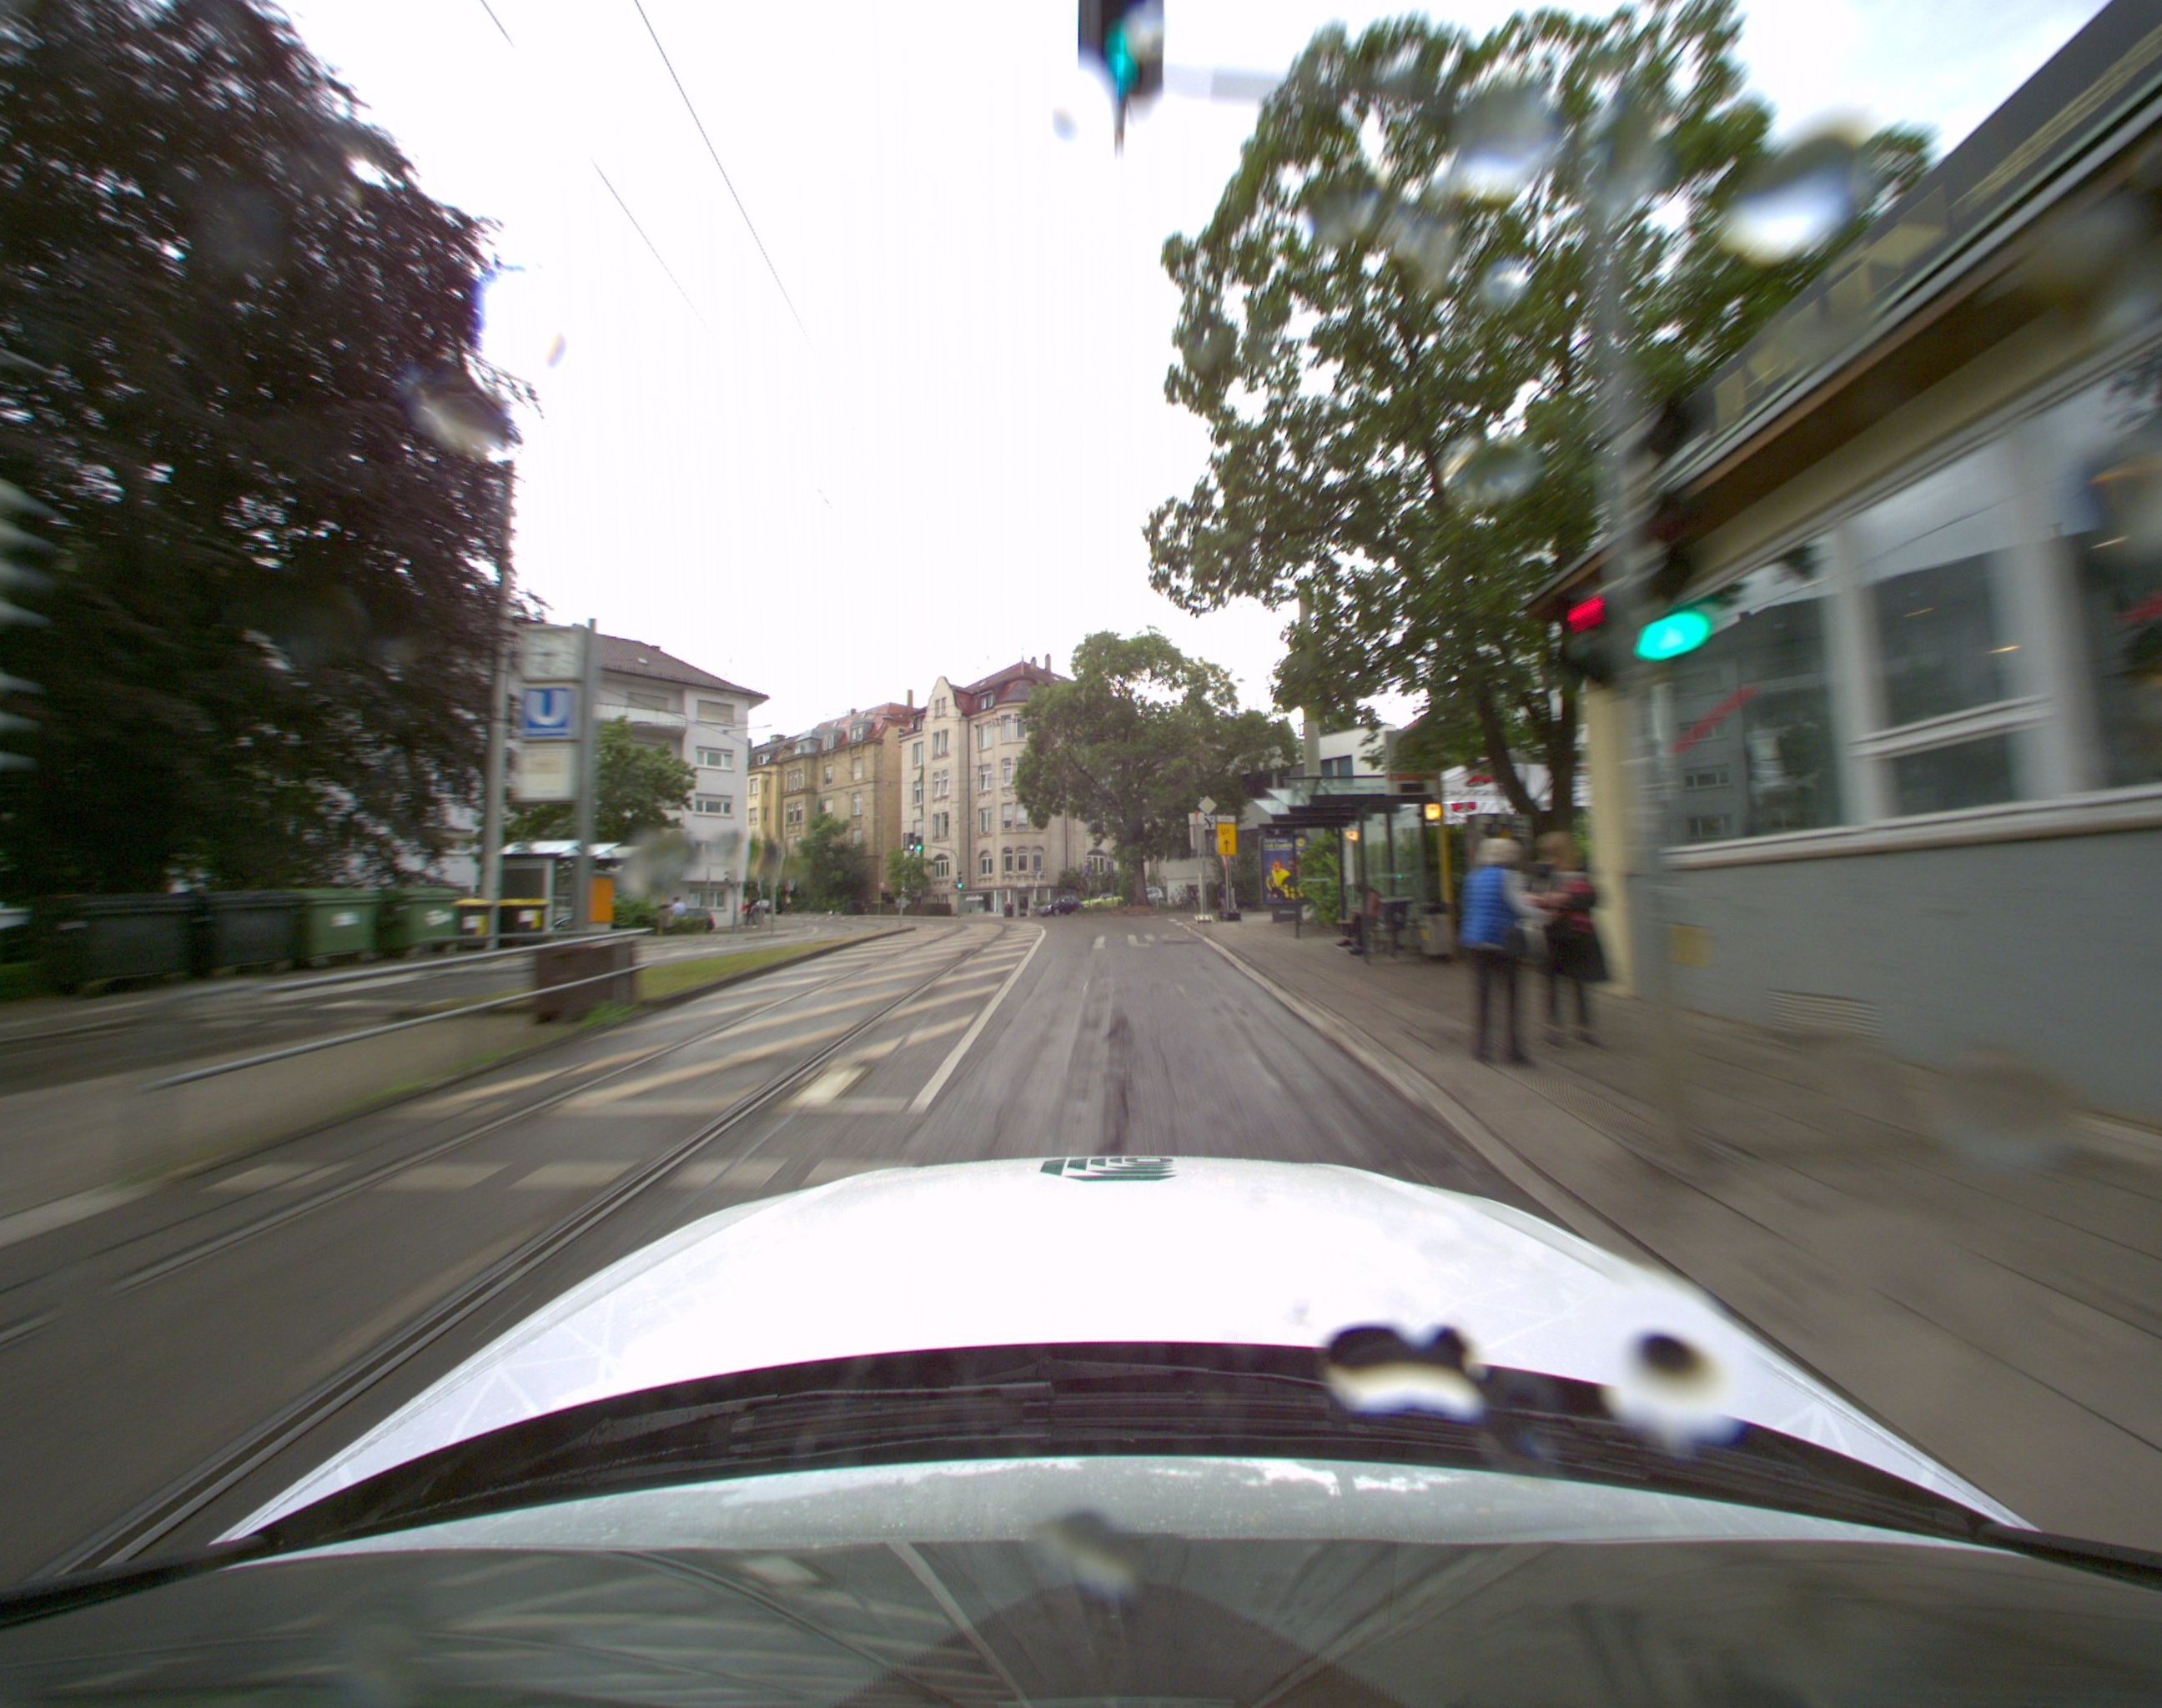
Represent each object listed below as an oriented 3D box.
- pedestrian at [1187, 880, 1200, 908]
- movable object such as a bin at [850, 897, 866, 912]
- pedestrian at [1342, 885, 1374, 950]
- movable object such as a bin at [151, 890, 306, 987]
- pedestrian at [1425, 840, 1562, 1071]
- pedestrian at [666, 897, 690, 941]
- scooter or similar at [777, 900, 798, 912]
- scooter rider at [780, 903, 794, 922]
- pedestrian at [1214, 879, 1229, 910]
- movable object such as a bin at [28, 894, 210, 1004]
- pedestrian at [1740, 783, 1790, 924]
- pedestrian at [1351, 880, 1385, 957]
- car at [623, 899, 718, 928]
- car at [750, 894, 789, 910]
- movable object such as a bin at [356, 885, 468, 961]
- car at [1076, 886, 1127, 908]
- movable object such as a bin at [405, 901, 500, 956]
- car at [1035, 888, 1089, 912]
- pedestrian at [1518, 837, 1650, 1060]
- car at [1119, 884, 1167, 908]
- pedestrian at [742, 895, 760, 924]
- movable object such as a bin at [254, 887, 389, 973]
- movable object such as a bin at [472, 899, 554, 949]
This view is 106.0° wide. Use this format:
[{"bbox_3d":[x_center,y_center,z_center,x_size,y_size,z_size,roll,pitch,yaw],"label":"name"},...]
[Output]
[{"bbox_3d":[6.255,2.232,45.332,0.599,1.566,0.544,1,-1,-8],"label":"pedestrian"},{"bbox_3d":[-21.488,4.847,78.418,0.812,1.403,1.237,0,-1,34],"label":"movable object such as a bin"},{"bbox_3d":[4.431,1.012,13.030,0.324,0.995,0.317,-4,-1,-2],"label":"pedestrian"},{"bbox_3d":[-13.716,1.327,13.163,1.016,1.434,1.356,0,-1,4],"label":"movable object such as a bin"},{"bbox_3d":[2.970,0.698,5.917,0.586,1.554,0.650,-3,-1,1],"label":"pedestrian"},{"bbox_3d":[-15.780,2.533,31.917,0.567,1.684,0.774,-2,-3,-6],"label":"pedestrian"},{"bbox_3d":[-26.524,4.672,73.528,1.983,1.050,0.518,-1,-6,29],"label":"scooter or similar"},{"bbox_3d":[-26.526,5.263,73.405,0.833,1.706,0.628,0,-6,29],"label":"scooter rider"},{"bbox_3d":[7.599,2.169,44.004,0.547,1.630,0.595,1,-1,-31],"label":"pedestrian"},{"bbox_3d":[-13.830,1.324,11.769,1.016,1.434,1.305,0,-1,4],"label":"movable object such as a bin"},{"bbox_3d":[8.904,-0.006,10.598,0.453,1.782,0.494,-1,-2,44],"label":"pedestrian"},{"bbox_3d":[4.435,0.987,12.582,0.324,1.150,0.317,-4,-1,-2],"label":"pedestrian"},{"bbox_3d":[-22.464,3.224,44.615,4.275,1.455,1.833,2,-2,-43],"label":"car"},{"bbox_3d":[-31.055,4.750,81.156,3.949,1.391,1.782,0,-4,40],"label":"car"},{"bbox_3d":[-13.535,1.365,16.544,1.016,1.434,1.429,0,-1,4],"label":"movable object such as a bin"},{"bbox_3d":[1.589,3.318,62.947,3.690,1.508,1.717,-1,-2,-40],"label":"car"},{"bbox_3d":[-14.094,1.653,18.322,1.016,1.138,1.344,0,-1,4],"label":"movable object such as a bin"},{"bbox_3d":[-1.392,3.386,60.102,3.689,1.508,1.717,-1,-2,-40],"label":"car"},{"bbox_3d":[3.731,0.672,6.074,0.544,1.554,0.558,-3,-1,-1],"label":"pedestrian"},{"bbox_3d":[5.020,3.380,65.739,3.796,1.508,1.603,-3,-4,-45],"label":"car"},{"bbox_3d":[-19.762,3.332,48.778,0.749,1.700,0.665,2,-2,-43],"label":"pedestrian"},{"bbox_3d":[-13.694,1.341,14.747,1.016,1.434,1.445,0,-1,4],"label":"movable object such as a bin"},{"bbox_3d":[-14.108,1.708,20.265,1.016,1.138,1.344,0,-1,4],"label":"movable object such as a bin"}]
